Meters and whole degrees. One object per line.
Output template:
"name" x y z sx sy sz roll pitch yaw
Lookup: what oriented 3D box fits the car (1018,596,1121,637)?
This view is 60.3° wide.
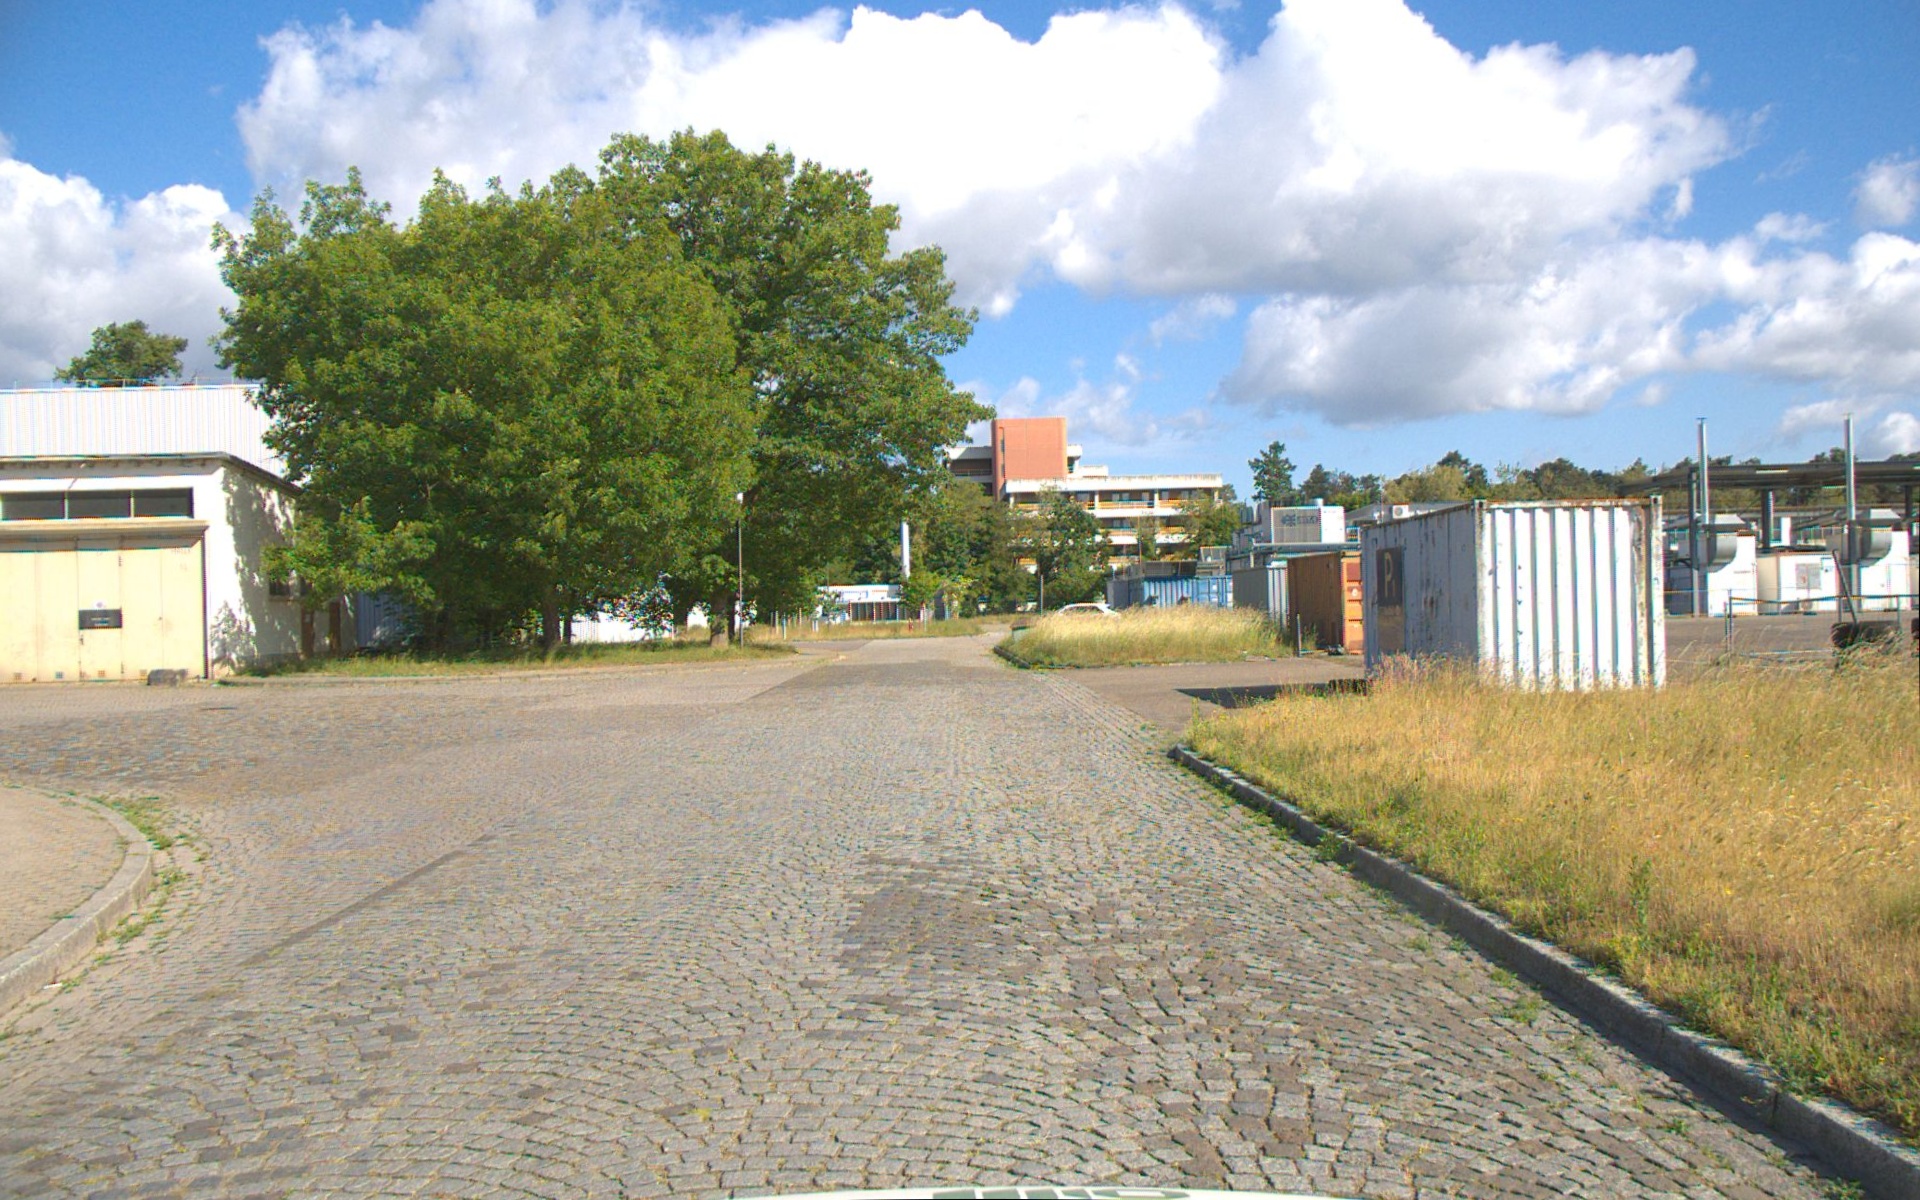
"car" 4.947 0.748 74.971 4.414 1.676 1.999 -2 0 -3
